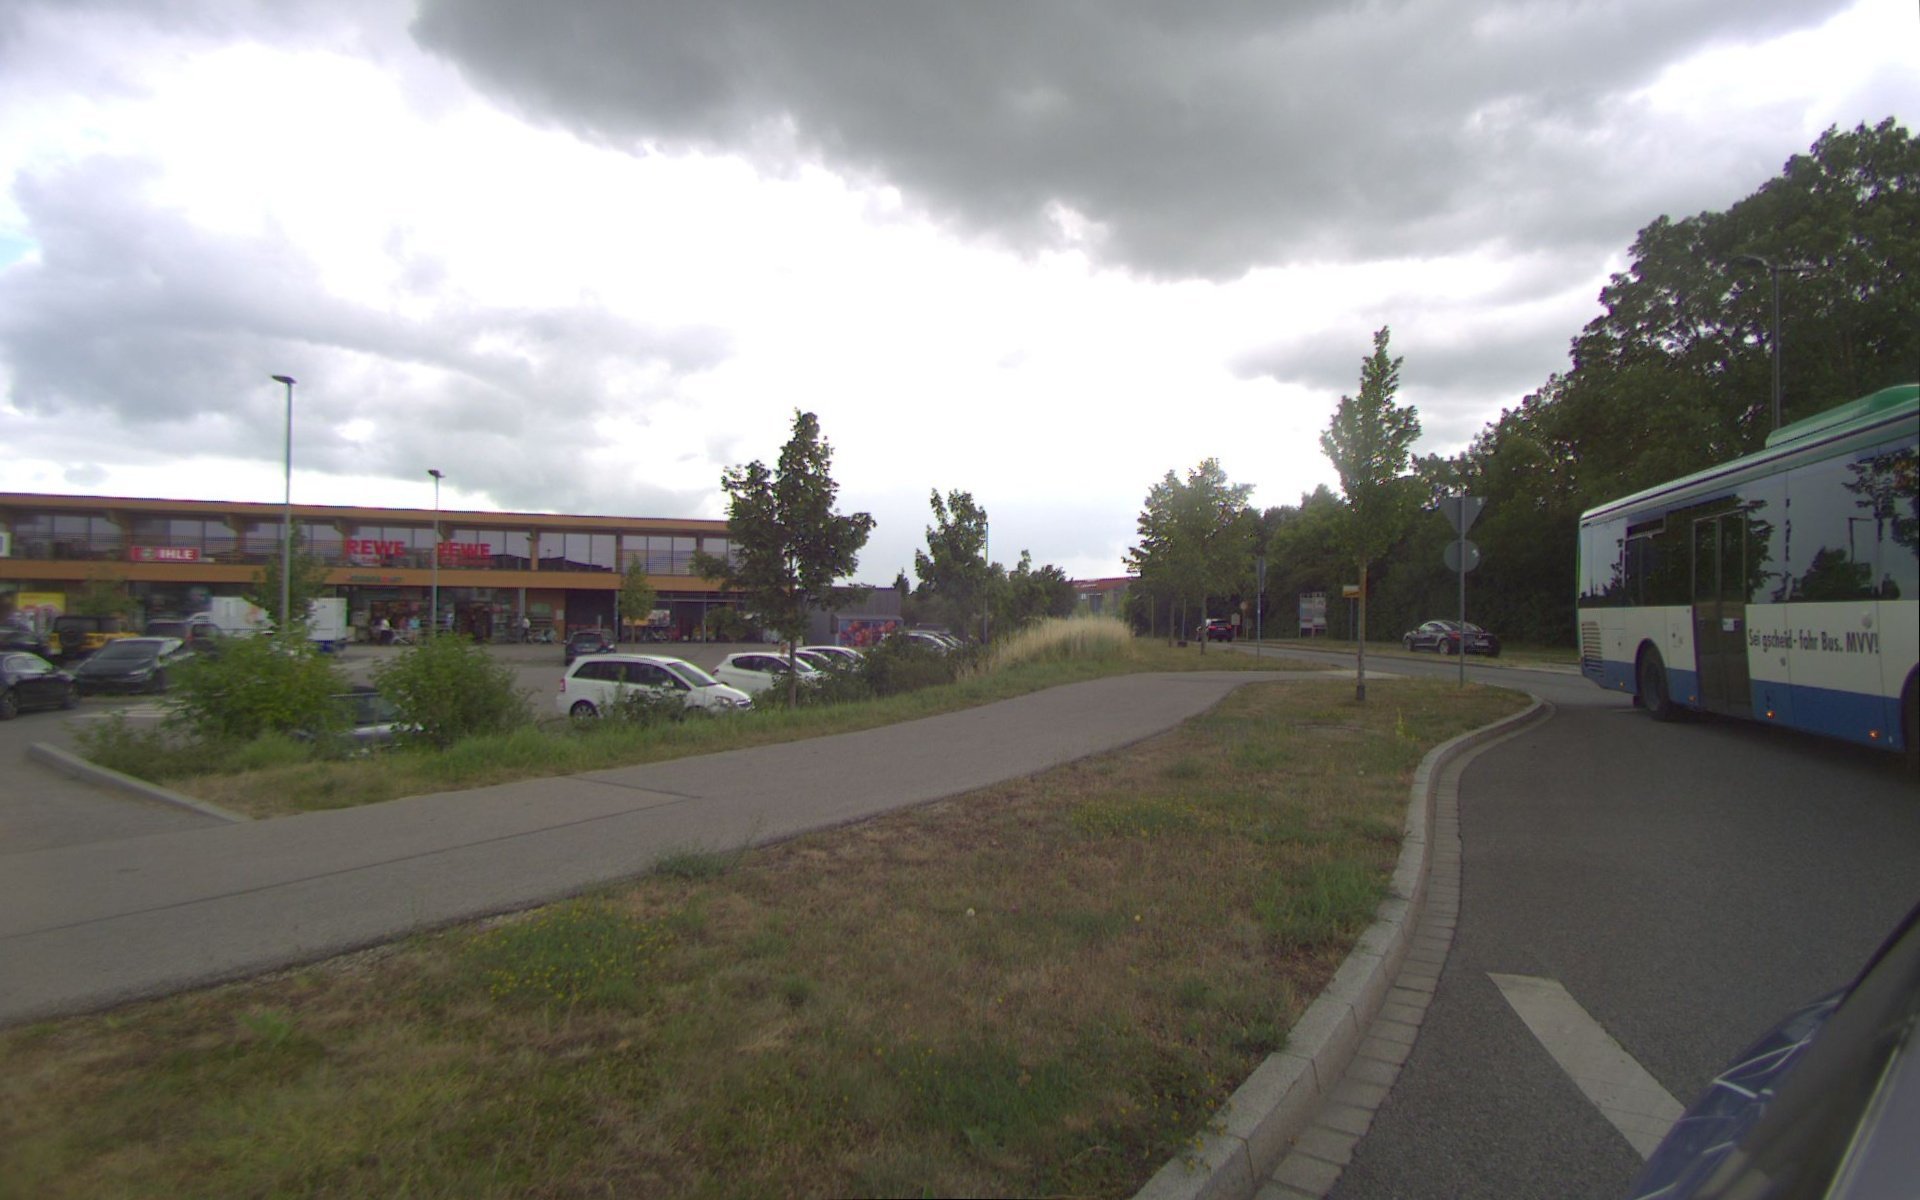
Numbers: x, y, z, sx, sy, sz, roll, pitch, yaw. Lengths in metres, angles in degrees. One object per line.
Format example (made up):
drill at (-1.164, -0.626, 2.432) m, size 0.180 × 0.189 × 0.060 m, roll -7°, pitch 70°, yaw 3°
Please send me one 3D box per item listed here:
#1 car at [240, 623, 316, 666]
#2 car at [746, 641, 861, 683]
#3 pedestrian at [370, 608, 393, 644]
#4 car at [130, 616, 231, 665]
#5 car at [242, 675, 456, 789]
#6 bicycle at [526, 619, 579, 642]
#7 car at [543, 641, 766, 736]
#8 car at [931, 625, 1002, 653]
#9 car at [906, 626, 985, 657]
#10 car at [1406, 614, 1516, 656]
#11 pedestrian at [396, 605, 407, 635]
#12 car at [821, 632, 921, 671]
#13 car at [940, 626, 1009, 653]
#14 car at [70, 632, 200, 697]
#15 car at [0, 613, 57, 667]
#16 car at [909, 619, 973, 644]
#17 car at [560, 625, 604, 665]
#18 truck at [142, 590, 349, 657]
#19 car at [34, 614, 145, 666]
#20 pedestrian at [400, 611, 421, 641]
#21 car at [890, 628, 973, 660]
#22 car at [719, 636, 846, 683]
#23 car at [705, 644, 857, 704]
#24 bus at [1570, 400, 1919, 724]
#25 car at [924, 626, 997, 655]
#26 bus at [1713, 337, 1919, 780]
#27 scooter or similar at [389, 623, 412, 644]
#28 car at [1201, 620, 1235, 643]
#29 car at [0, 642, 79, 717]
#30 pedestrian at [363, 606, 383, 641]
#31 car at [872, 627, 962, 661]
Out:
car at (-27.079, 1.712, 40.296) m, size 1.695 × 1.549 × 4.007 m, roll 1°, pitch 0°, yaw -22°
car at (-5.339, 2.125, 34.611) m, size 3.618 × 1.310 × 1.411 m, roll -1°, pitch 0°, yaw 11°
pedestrian at (-31.617, 1.428, 55.313) m, size 0.909 × 1.923 × 0.795 m, roll 0°, pitch -3°, yaw -19°
car at (-29.799, 1.501, 38.832) m, size 1.813 × 1.747 × 4.128 m, roll -1°, pitch 0°, yaw -18°
car at (-9.568, 1.955, 15.771) m, size 3.709 × 1.390 × 1.560 m, roll -1°, pitch -1°, yaw 36°
bicycle at (-23.974, 1.786, 59.599) m, size 2.809 × 1.326 × 0.981 m, roll 0°, pitch -1°, yaw -18°
car at (-6.754, 1.917, 22.559) m, size 4.372 × 1.694 × 1.796 m, roll 3°, pitch 1°, yaw 10°
car at (0.398, 2.241, 58.622) m, size 3.832 × 1.483 × 1.690 m, roll 0°, pitch -1°, yaw 14°
car at (-0.738, 2.128, 52.768) m, size 3.832 × 1.483 × 1.690 m, roll 0°, pitch -1°, yaw 14°
car at (17.874, 1.214, 36.349) m, size 1.796 × 1.324 × 4.115 m, roll 2°, pitch 0°, yaw -1°
pedestrian at (-37.087, 1.337, 67.213) m, size 0.567 × 1.973 × 0.526 m, roll 1°, pitch -1°, yaw -26°
car at (-3.722, 2.138, 42.443) m, size 3.832 × 1.483 × 1.690 m, roll 0°, pitch -1°, yaw 14°
car at (0.894, 2.340, 60.236) m, size 3.832 × 1.483 × 1.690 m, roll 0°, pitch -1°, yaw 14°
car at (-22.879, 1.719, 28.233) m, size 1.695 × 1.573 × 4.007 m, roll 1°, pitch -1°, yaw -22°
car at (-35.747, 1.451, 37.792) m, size 1.735 × 1.878 × 4.007 m, roll 1°, pitch -1°, yaw -21°
car at (-1.195, 1.968, 63.514) m, size 3.923 × 1.462 × 1.884 m, roll 0°, pitch -1°, yaw -1°
car at (-16.240, 1.889, 43.575) m, size 1.679 × 1.588 × 3.677 m, roll 1°, pitch -1°, yaw -19°
truck at (-32.029, 1.024, 45.761) m, size 7.105 × 2.843 × 2.982 m, roll 0°, pitch -1°, yaw -22°
car at (-33.098, 1.469, 38.599) m, size 1.735 × 1.878 × 4.008 m, roll 0°, pitch -1°, yaw -17°
pedestrian at (-30.826, 1.456, 56.766) m, size 0.798 × 1.678 × 0.742 m, roll 0°, pitch -1°, yaw 30°
car at (-1.385, 2.146, 49.811) m, size 3.832 × 1.483 × 1.690 m, roll 0°, pitch -1°, yaw 14°
car at (-5.375, 1.789, 30.971) m, size 3.606 × 1.311 × 1.716 m, roll -1°, pitch 0°, yaw 0°
car at (-5.017, 2.076, 28.783) m, size 3.926 × 1.527 × 1.999 m, roll -1°, pitch 0°, yaw 2°
bus at (10.150, -0.420, 13.094) m, size 2.491 × 3.299 × 5.431 m, roll -3°, pitch 0°, yaw 18°
car at (0.040, 2.228, 56.391) m, size 3.832 × 1.483 × 1.690 m, roll 0°, pitch -1°, yaw 14°
bus at (8.420, -0.341, 7.415) m, size 2.491 × 3.299 × 6.513 m, roll -3°, pitch 0°, yaw 17°
scooter or similar at (-30.720, 1.823, 55.596) m, size 0.981 × 1.141 × 0.795 m, roll 0°, pitch -3°, yaw -19°
car at (18.642, 2.274, 73.312) m, size 1.613 × 1.524 × 3.580 m, roll 0°, pitch 0°, yaw 1°
car at (-21.301, 1.714, 22.145) m, size 1.798 × 1.416 × 4.008 m, roll 1°, pitch 0°, yaw -22°
pedestrian at (-34.372, 1.372, 59.265) m, size 0.912 × 2.039 × 0.807 m, roll 1°, pitch -1°, yaw -23°
car at (-1.972, 2.010, 46.759) m, size 3.832 × 1.483 × 1.690 m, roll 0°, pitch -1°, yaw 14°
